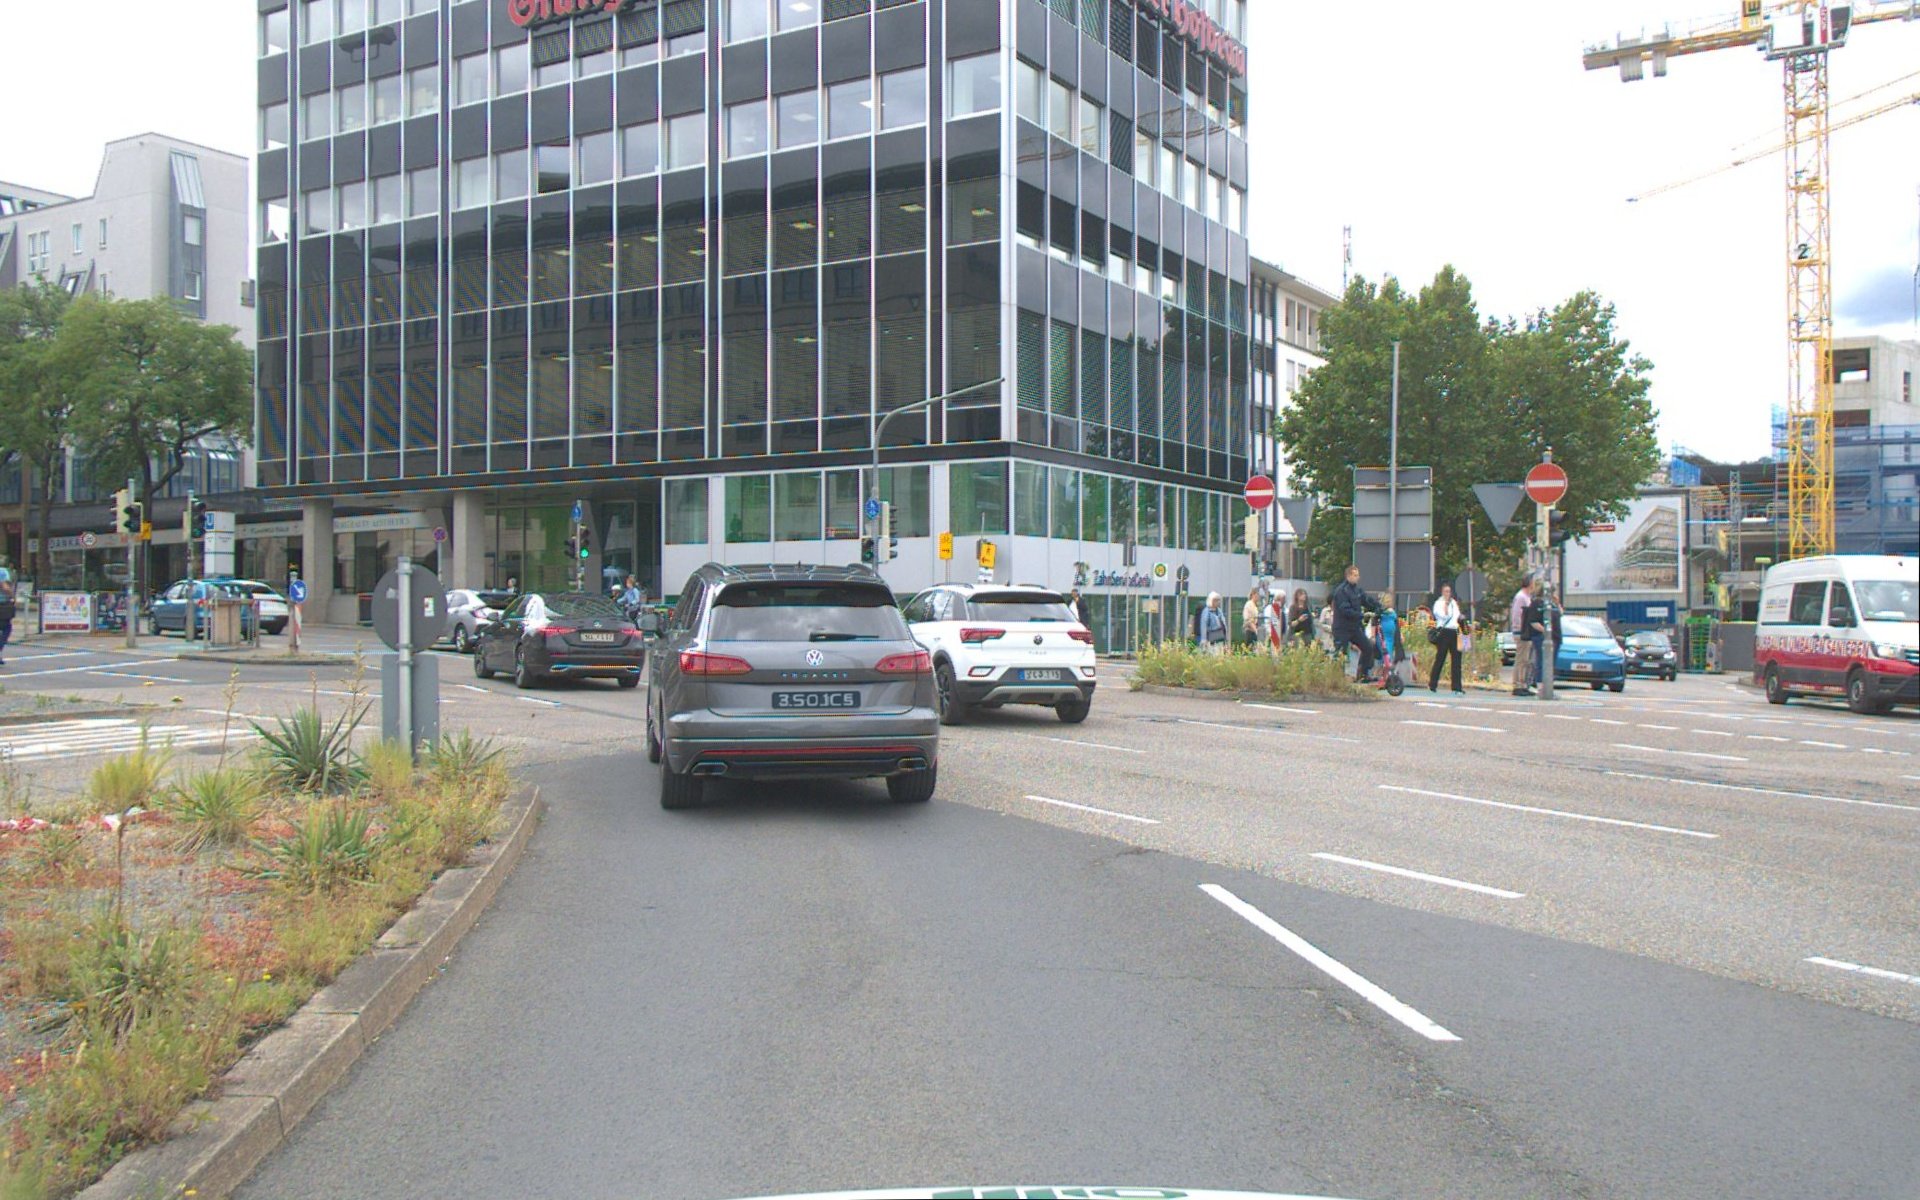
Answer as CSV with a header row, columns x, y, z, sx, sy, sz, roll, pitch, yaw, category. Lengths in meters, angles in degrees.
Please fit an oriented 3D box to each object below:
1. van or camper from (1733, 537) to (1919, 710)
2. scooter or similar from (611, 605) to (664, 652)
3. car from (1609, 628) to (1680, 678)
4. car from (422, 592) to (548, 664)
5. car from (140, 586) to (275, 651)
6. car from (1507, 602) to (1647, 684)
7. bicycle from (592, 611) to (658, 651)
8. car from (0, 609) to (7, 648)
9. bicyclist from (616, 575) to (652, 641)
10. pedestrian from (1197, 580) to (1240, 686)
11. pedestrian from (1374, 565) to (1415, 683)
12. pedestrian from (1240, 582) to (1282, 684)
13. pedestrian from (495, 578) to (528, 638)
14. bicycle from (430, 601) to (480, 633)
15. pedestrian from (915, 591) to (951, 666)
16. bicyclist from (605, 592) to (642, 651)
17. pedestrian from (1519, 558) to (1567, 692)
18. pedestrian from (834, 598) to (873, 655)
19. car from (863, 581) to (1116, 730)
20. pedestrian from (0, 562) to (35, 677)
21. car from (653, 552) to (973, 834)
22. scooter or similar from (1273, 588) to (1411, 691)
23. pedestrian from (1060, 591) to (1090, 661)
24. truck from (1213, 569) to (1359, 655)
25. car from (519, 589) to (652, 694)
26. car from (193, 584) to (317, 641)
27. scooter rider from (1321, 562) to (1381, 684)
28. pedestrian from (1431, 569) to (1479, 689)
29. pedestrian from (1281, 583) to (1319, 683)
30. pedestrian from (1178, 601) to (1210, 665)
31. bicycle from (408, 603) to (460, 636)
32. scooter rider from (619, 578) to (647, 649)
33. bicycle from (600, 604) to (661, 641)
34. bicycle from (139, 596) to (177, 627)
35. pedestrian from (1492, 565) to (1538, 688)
x,y,z,sx,sy,sz,roll,pitch,yaw,category
14.928,0.358,27.226,2.094,2.520,6.166,1,0,7,van or camper
-8.428,0.750,43.298,1.293,1.196,0.592,-1,0,-5,scooter or similar
21.914,1.666,53.070,1.794,1.492,4.001,0,-1,18,car
-10.956,0.604,37.994,1.814,1.457,4.106,2,0,-30,car
-19.186,0.434,42.120,3.700,1.544,1.827,1,1,42,car
12.858,0.846,34.728,1.901,1.508,4.632,0,1,9,car
-9.014,0.828,44.495,1.629,1.045,0.582,0,0,8,bicycle
-36.016,1.006,59.593,3.699,1.387,1.828,1,1,41,car
-9.345,0.222,47.413,0.796,1.878,0.673,0,1,32,bicyclist
4.727,0.595,30.183,0.685,1.895,0.670,1,-1,15,pedestrian
7.467,0.405,28.440,0.627,1.999,0.611,1,-1,13,pedestrian
5.581,0.609,30.646,0.685,1.847,0.670,1,-1,15,pedestrian
-13.214,0.244,48.734,0.737,1.741,0.525,-2,0,31,pedestrian
-16.964,0.568,55.550,1.450,1.066,0.714,1,0,16,bicycle
-0.630,0.664,38.597,0.539,1.727,0.795,0,0,-26,pedestrian
-9.039,0.567,44.494,0.825,1.576,0.566,0,0,8,bicyclist
8.774,0.369,24.889,0.627,1.989,0.611,1,-1,16,pedestrian
-2.788,0.682,43.346,0.821,1.468,0.604,0,1,32,pedestrian
0.231,0.562,19.697,1.771,1.572,3.913,0,1,-20,car
-15.626,0.312,26.955,0.622,1.821,0.715,2,4,36,pedestrian
-1.285,0.529,12.415,1.935,1.725,4.212,0,1,-12,car
5.527,0.560,23.933,1.843,1.431,0.777,1,0,21,scooter or similar
2.994,0.664,42.866,0.622,1.779,0.591,1,0,20,pedestrian
12.725,0.488,63.967,2.299,3.117,8.168,0,-1,36,truck
-5.848,0.588,25.641,1.802,1.420,4.132,2,0,-14,car
-20.231,0.325,47.427,3.697,1.544,1.828,1,1,40,car
5.651,0.323,23.880,0.728,1.724,0.766,1,-1,21,scooter rider
7.781,0.451,26.026,0.627,1.828,0.611,2,0,13,pedestrian
5.989,0.576,29.142,0.627,1.725,0.611,1,-1,13,pedestrian
6.330,0.880,44.747,0.585,1.708,0.628,1,0,-38,pedestrian
-17.452,0.643,54.879,1.450,1.066,0.714,1,0,16,bicycle
-8.555,0.354,43.283,0.629,1.840,0.592,0,0,-5,scooter rider
-9.474,0.648,47.506,1.730,1.024,0.679,0,1,32,bicycle
-30.390,0.441,62.646,1.807,1.152,0.489,1,0,36,bicycle
8.874,0.421,26.468,0.627,1.943,0.611,1,-1,13,pedestrian
